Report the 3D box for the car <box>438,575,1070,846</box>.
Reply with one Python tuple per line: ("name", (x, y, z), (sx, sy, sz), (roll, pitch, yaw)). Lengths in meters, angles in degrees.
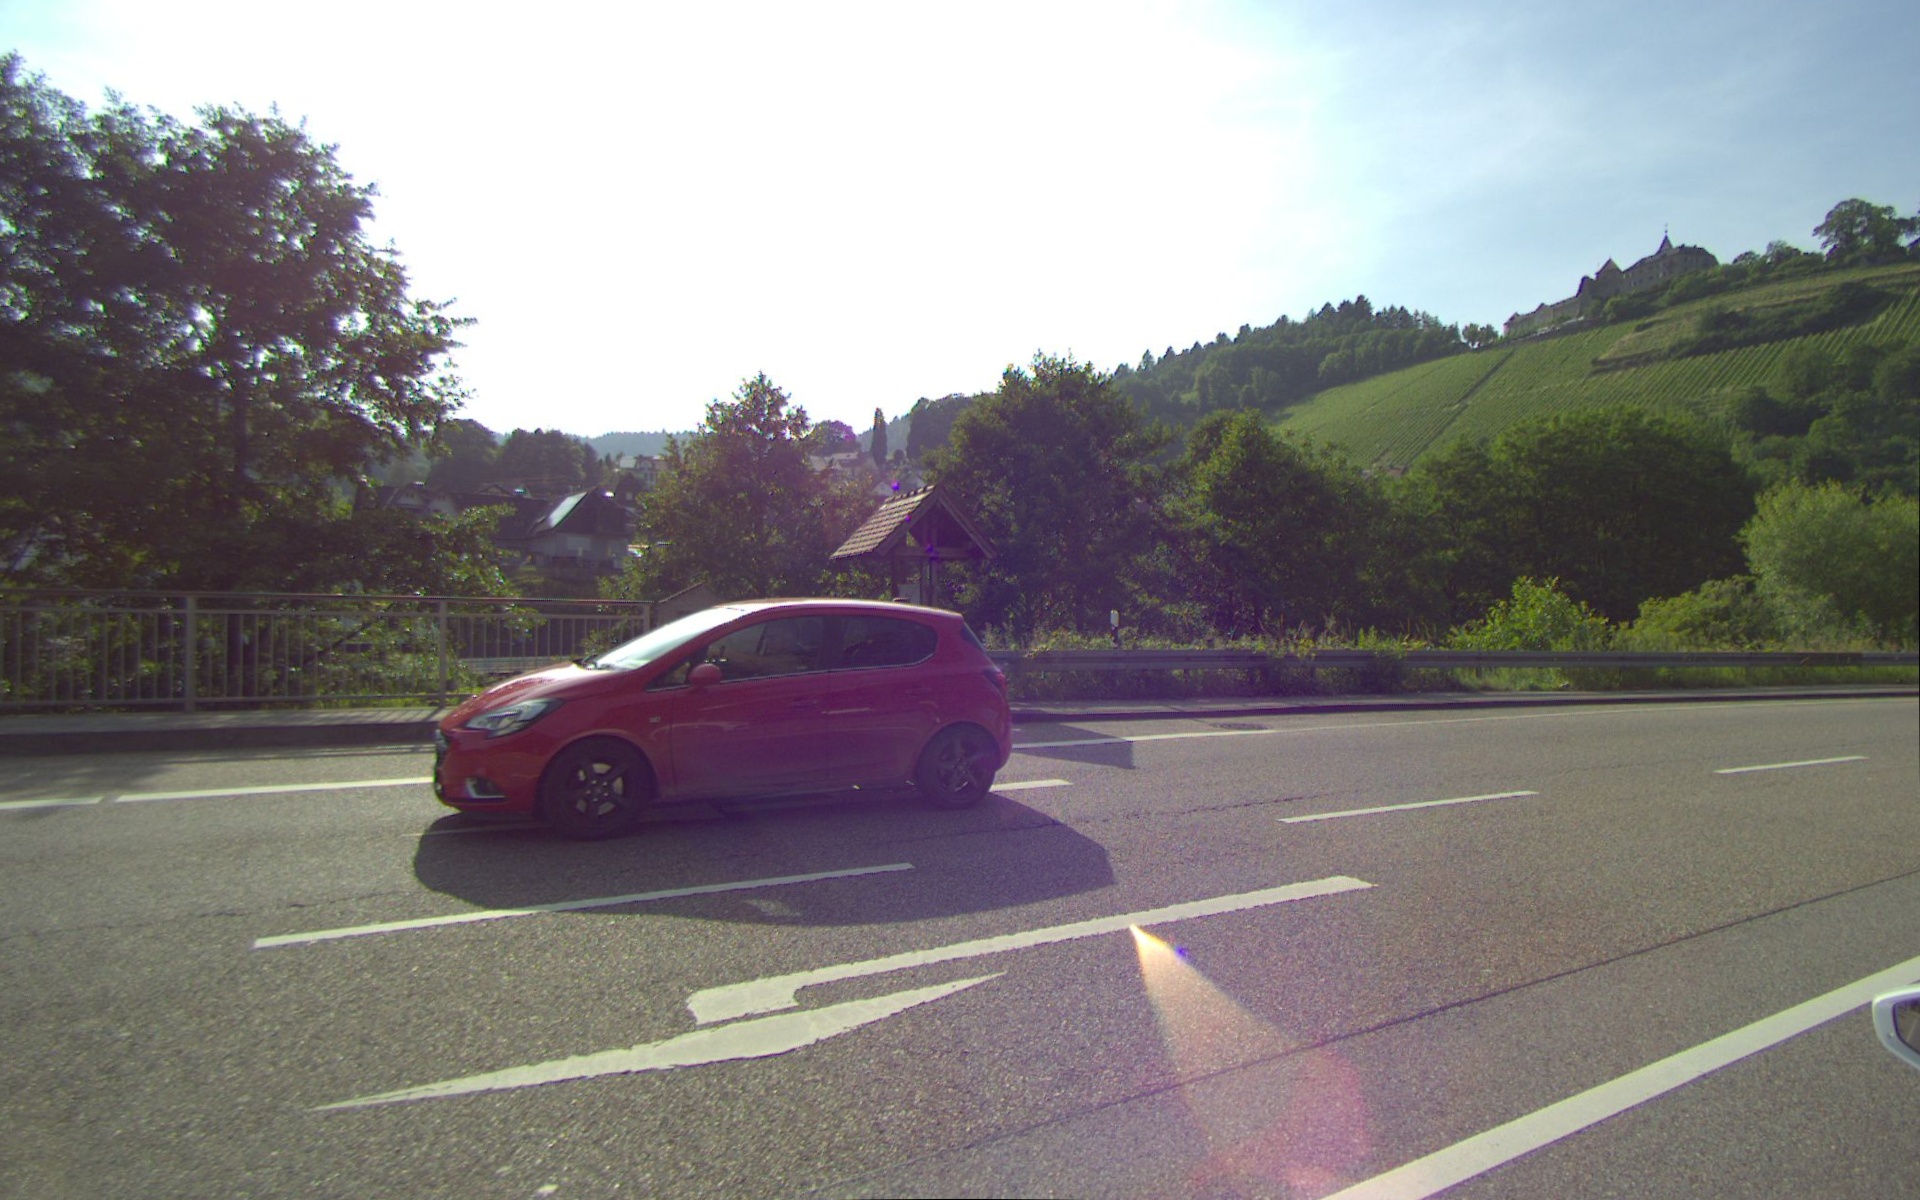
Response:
("car", (-1.398, 0.666, 7.236), (4.150, 1.479, 1.668), (2, -1, -29))
